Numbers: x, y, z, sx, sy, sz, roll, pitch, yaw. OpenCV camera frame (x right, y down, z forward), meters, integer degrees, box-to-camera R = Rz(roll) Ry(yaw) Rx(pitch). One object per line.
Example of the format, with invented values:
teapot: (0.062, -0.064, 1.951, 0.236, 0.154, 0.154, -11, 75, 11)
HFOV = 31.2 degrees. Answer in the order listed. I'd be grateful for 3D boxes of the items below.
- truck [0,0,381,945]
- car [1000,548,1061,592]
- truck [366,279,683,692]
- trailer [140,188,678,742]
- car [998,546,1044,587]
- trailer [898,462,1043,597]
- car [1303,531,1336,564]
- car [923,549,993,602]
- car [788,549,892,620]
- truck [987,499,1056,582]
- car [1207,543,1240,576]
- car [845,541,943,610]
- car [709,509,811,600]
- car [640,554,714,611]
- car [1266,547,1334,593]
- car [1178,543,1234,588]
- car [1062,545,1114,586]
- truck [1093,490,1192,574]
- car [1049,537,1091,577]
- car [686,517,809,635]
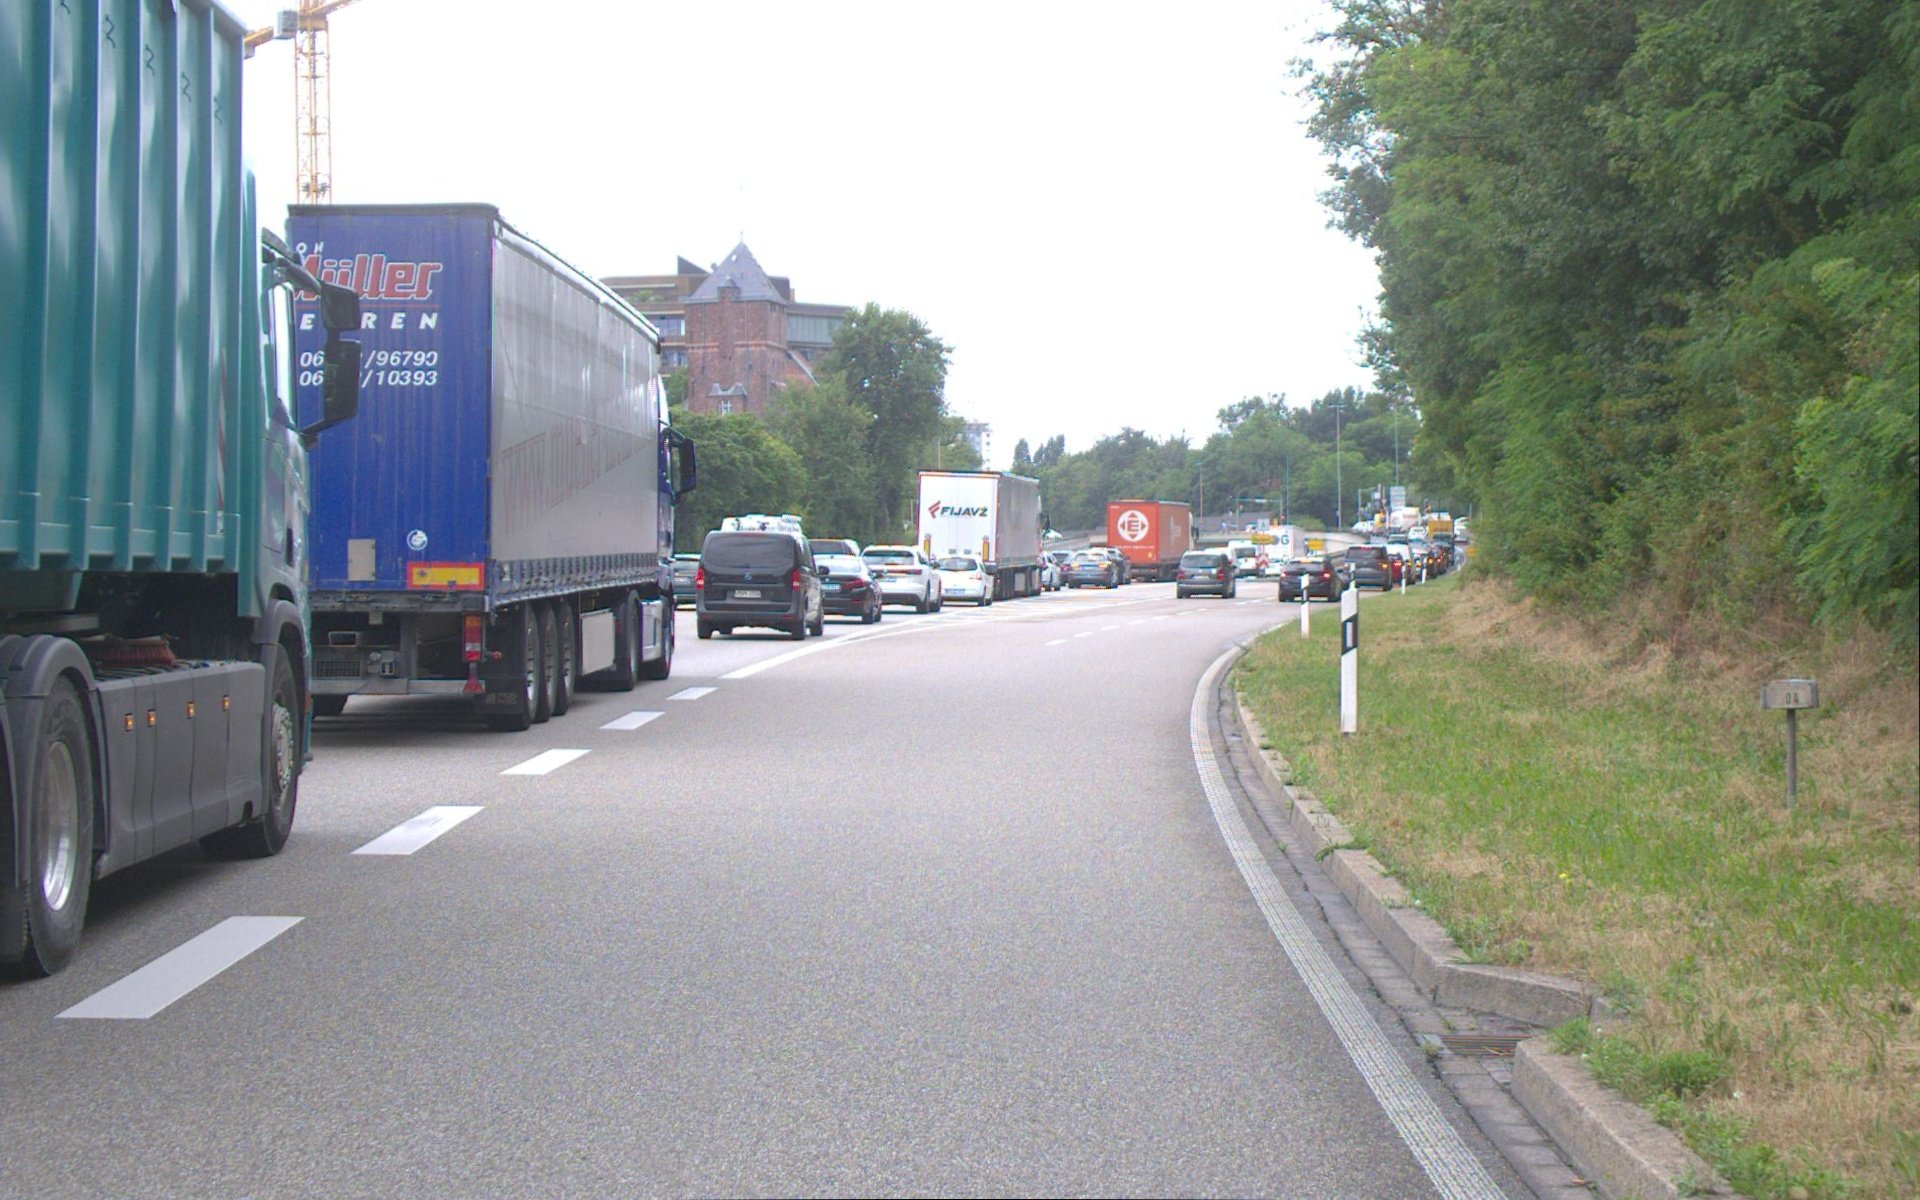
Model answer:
truck: (-4.590, -0.838, 13.747, 2.929, 3.783, 11.332, -1, 1, -2)
car: (2.741, -1.147, 132.575, 1.800, 1.598, 4.256, 1, 0, 8)
truck: (-4.572, -1.154, 37.288, 2.561, 4.029, 6.589, 1, 0, 0)
trailer: (-4.597, -1.034, 31.961, 2.626, 4.009, 13.464, 1, 0, 1)
car: (2.366, -1.294, 132.325, 1.531, 1.546, 3.418, 0, 1, 5)
trailer: (0.470, -2.174, 111.208, 3.299, 4.022, 13.095, 1, 0, 6)
car: (22.108, -3.244, 211.362, 1.951, 2.007, 3.999, 0, 1, 7)
car: (-0.037, -0.717, 98.388, 1.764, 1.473, 4.088, 0, 1, 4)
car: (-2.549, -0.342, 74.269, 1.847, 1.455, 4.831, 1, 0, 3)
truck: (3.231, -3.033, 178.011, 2.739, 4.124, 10.695, 1, 0, 5)
car: (15.955, -2.453, 208.041, 1.615, 1.941, 3.703, 1, 0, 9)
car: (-1.644, -0.641, 87.027, 1.957, 1.689, 4.865, 0, 1, 5)
car: (-5.725, -1.317, 99.021, 1.994, 2.545, 5.361, 0, 1, 7)
car: (-7.117, -0.452, 86.658, 1.441, 1.382, 3.047, 0, 1, 3)
car: (11.086, -0.990, 111.984, 1.826, 1.477, 3.998, 0, 1, 11)
car: (8.394, -1.196, 117.087, 1.825, 1.477, 3.999, 0, 1, 5)
car: (5.356, -1.425, 143.207, 1.718, 1.678, 3.999, 1, 0, 8)
truck: (9.330, -3.413, 173.611, 3.491, 4.059, 13.586, 0, 1, 9)
car: (5.587, -2.186, 174.548, 1.818, 2.007, 3.999, 0, 1, 7)
car: (-3.746, -0.430, 60.945, 1.987, 1.891, 4.985, -3, 1, -3)
